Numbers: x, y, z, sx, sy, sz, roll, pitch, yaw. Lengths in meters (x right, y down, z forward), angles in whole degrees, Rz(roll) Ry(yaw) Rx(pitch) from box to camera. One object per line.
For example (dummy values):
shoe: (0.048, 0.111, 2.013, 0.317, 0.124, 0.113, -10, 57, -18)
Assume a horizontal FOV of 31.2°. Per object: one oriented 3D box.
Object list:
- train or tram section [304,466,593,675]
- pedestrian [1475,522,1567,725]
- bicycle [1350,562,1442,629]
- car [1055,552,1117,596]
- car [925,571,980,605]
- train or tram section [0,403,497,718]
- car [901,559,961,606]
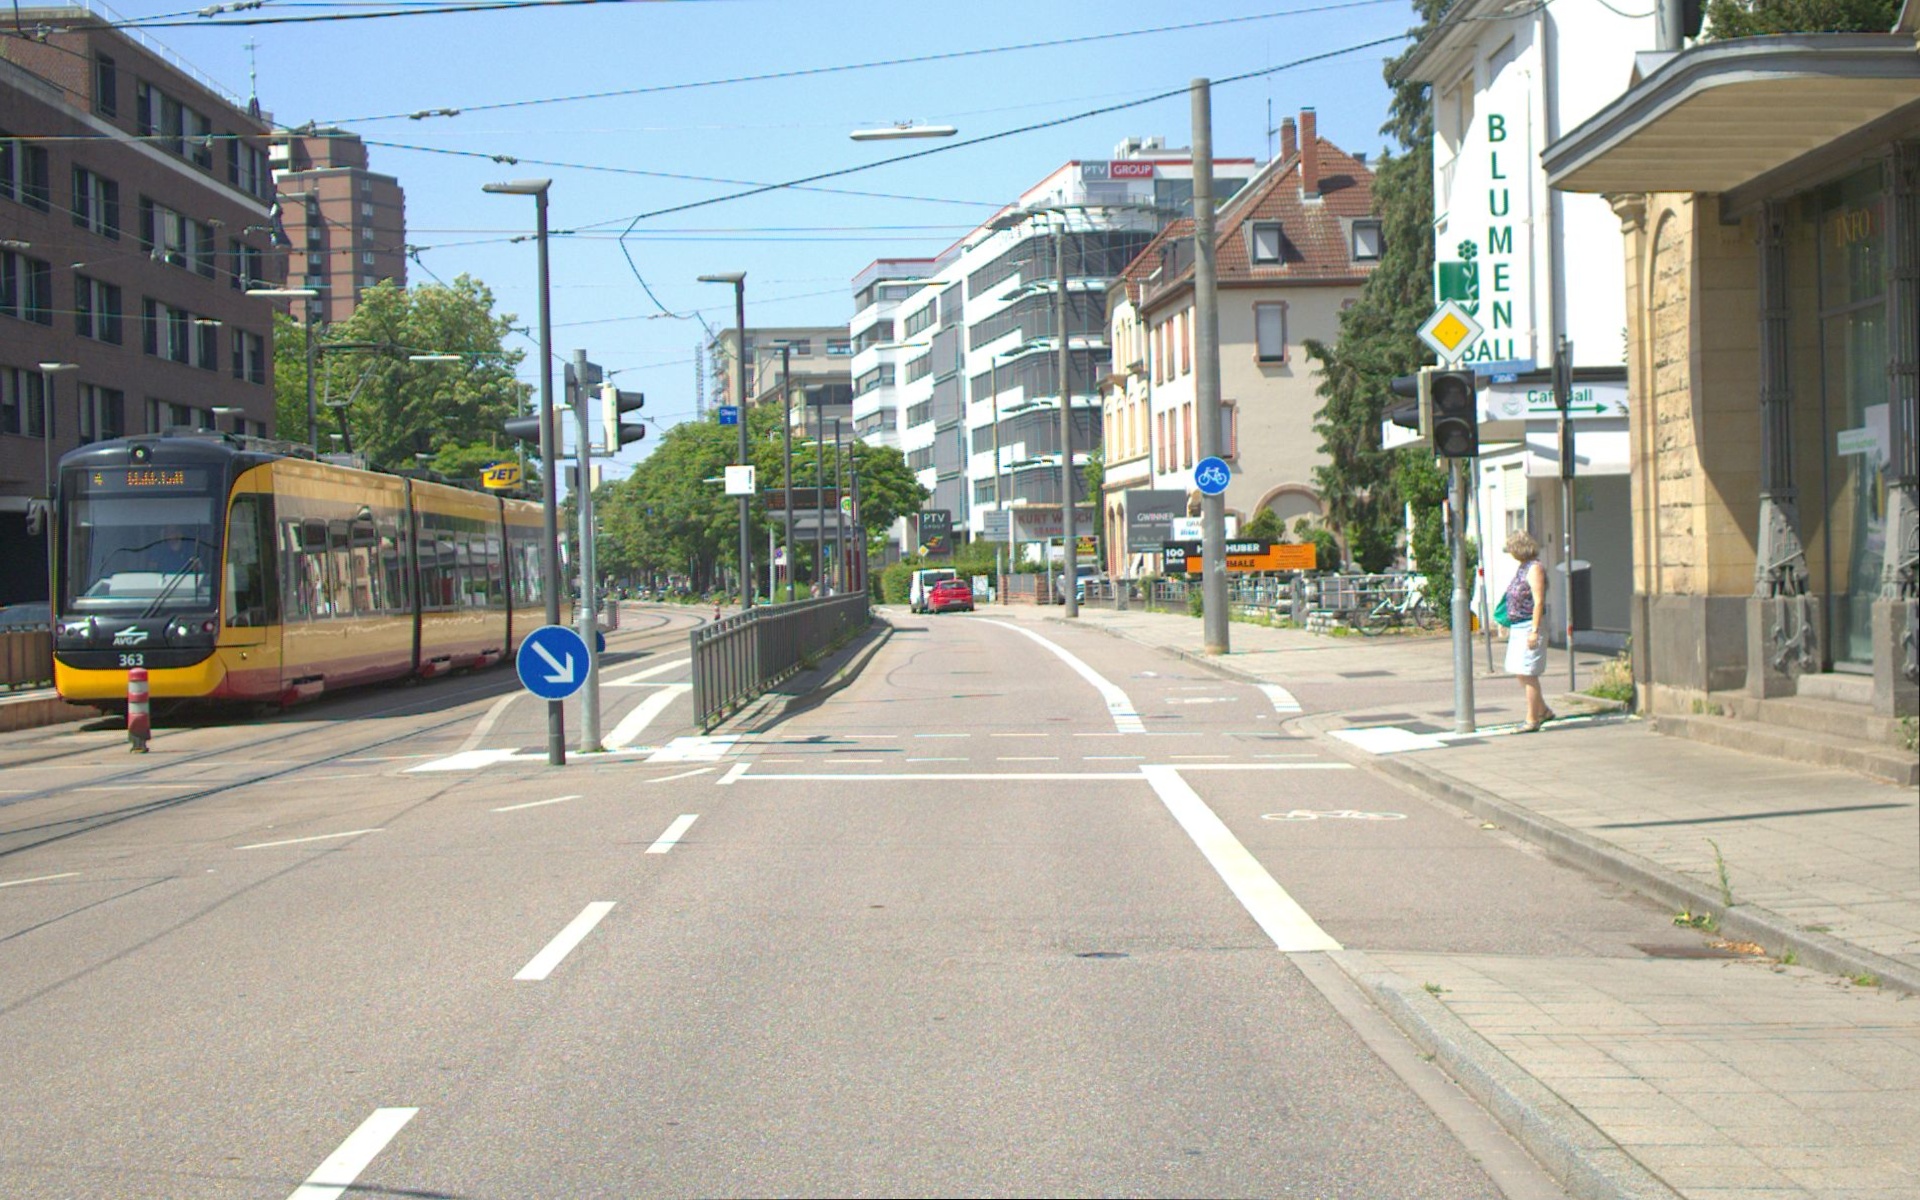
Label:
train or tram section: (-9.822, -0.538, 68.319, 3.235, 3.555, 16.349, -2, 0, 0)
pedestrian: (4.671, 0.188, 28.603, 0.564, 1.660, 0.681, -2, 1, 23)
bicycle: (7.677, -0.077, 60.531, 1.533, 1.082, 0.429, -3, 0, 6)
car: (5.158, -1.056, 141.375, 1.878, 1.619, 4.640, -4, 1, -5)
car: (-0.358, -0.522, 151.233, 1.993, 1.437, 4.017, -2, 0, -6)
train or tram section: (-9.778, -0.488, 50.034, 3.250, 3.555, 20.501, -2, 0, 0)
car: (-1.363, -0.817, 157.770, 1.993, 1.985, 5.516, -3, 1, -8)
